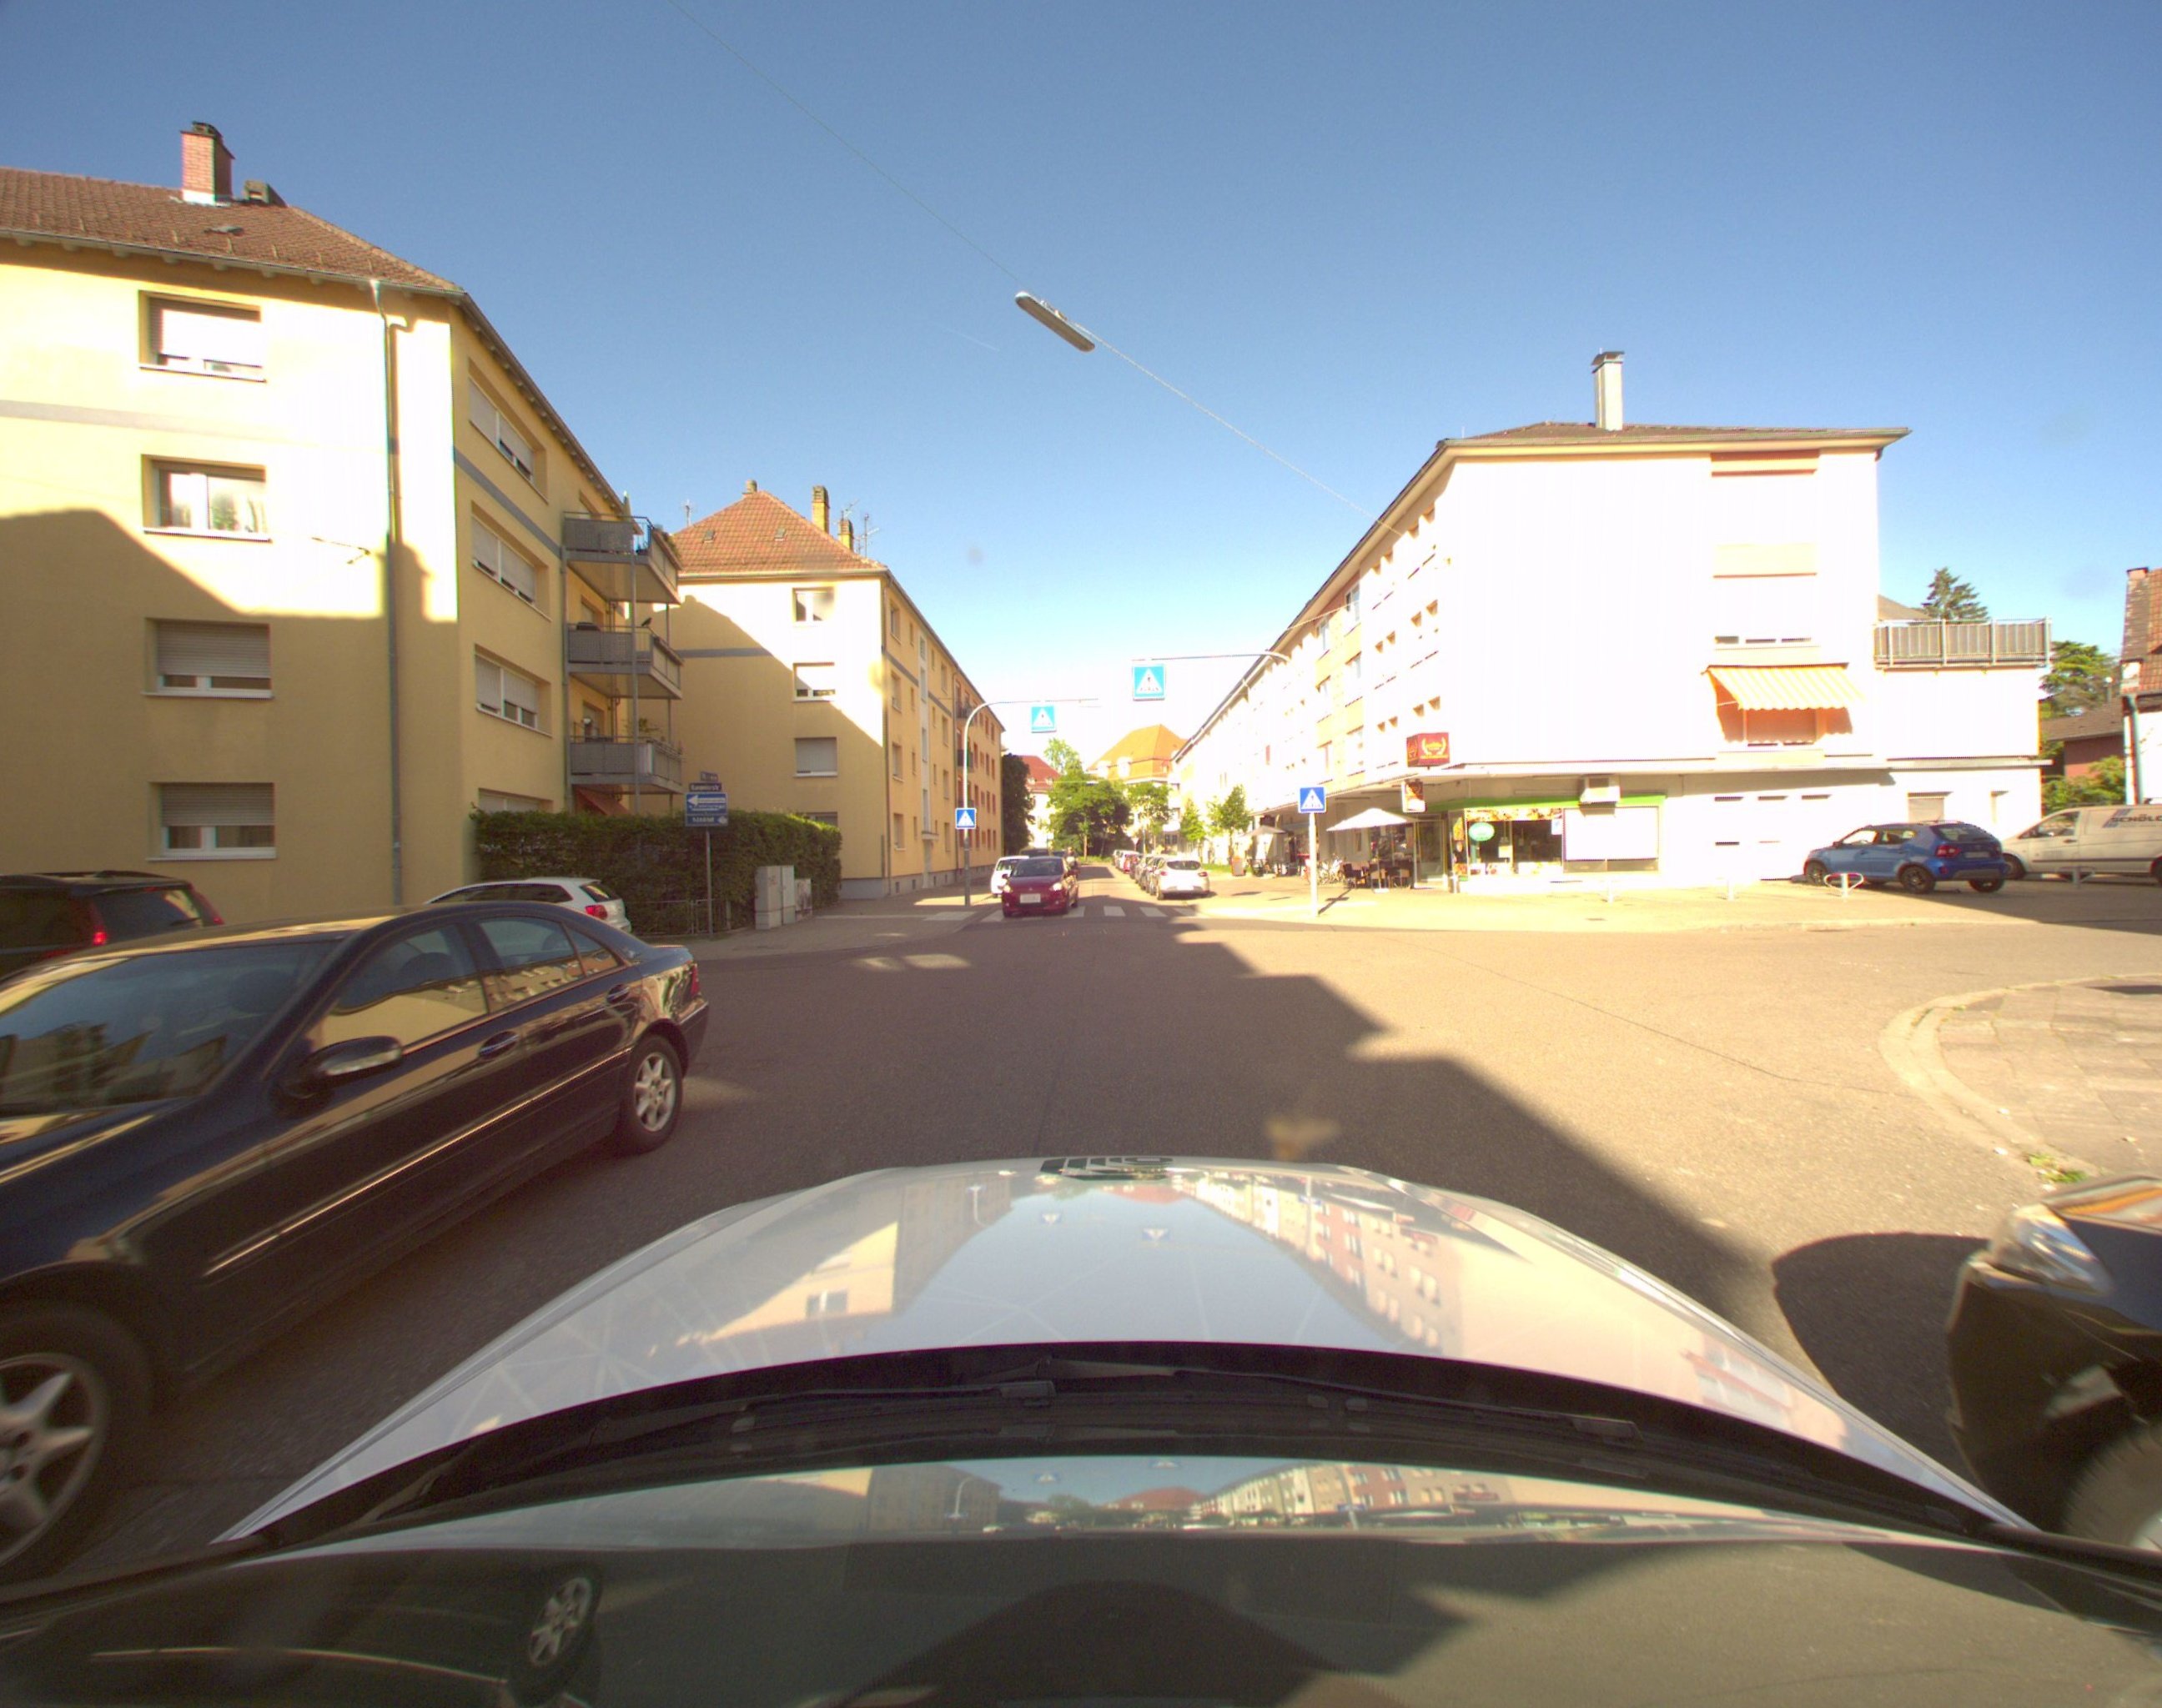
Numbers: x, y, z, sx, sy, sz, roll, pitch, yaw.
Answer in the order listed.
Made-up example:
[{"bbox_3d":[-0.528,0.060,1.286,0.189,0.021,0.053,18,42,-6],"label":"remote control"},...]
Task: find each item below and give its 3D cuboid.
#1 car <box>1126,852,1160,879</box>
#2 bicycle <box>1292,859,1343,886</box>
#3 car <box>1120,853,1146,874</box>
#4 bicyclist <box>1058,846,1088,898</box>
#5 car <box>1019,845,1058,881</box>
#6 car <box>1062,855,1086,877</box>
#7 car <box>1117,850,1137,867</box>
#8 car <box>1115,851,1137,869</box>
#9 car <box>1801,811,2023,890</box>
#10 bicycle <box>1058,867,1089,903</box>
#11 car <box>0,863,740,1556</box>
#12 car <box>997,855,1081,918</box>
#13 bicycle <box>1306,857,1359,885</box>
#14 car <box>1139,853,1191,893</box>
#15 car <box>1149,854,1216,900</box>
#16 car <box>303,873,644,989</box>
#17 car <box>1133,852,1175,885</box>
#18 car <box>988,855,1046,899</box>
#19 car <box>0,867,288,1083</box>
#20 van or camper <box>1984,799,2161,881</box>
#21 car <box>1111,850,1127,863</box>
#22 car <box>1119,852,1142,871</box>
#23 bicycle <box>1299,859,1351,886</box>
[{"bbox_3d":[3.594,0.636,47.575,1.632,1.440,3.418,-2,0,0],"label":"car"},{"bbox_3d":[9.293,0.725,32.044,1.806,0.967,0.671,-2,0,-10],"label":"bicycle"},{"bbox_3d":[3.755,0.661,59.303,1.632,1.440,3.419,-2,0,0],"label":"car"},{"bbox_3d":[-0.256,0.569,26.375,0.782,1.621,0.957,-3,0,5],"label":"bicyclist"},{"bbox_3d":[-2.224,0.453,43.753,1.691,1.779,4.100,-2,0,1],"label":"car"},{"bbox_3d":[-0.474,0.816,56.668,1.632,1.440,3.418,-2,0,0],"label":"car"},{"bbox_3d":[4.203,0.373,74.682,1.632,1.440,3.419,-2,0,0],"label":"car"},{"bbox_3d":[3.849,0.476,70.052,1.632,1.440,3.419,-2,0,0],"label":"car"},{"bbox_3d":[19.104,-0.072,18.952,1.574,1.613,3.475,-2,0,0],"label":"car"},{"bbox_3d":[-0.228,0.972,26.342,0.774,1.069,1.792,-2,0,6],"label":"bicycle"},{"bbox_3d":[-3.142,0.830,3.204,1.699,1.416,4.372,-6,-1,-1],"label":"car"},{"bbox_3d":[-1.024,0.793,21.380,1.689,1.440,3.423,-2,0,5],"label":"car"},{"bbox_3d":[9.505,0.639,30.785,1.806,0.967,0.671,-2,0,-10],"label":"bicycle"},{"bbox_3d":[3.319,0.723,32.792,1.685,1.440,3.418,-2,0,0],"label":"car"},{"bbox_3d":[3.444,0.736,28.106,1.839,1.440,3.418,-2,0,0],"label":"car"},{"bbox_3d":[-9.398,1.127,12.973,3.989,1.479,1.586,-2,0,-17],"label":"car"},{"bbox_3d":[3.402,0.669,38.626,1.632,1.440,3.418,-2,0,0],"label":"car"},{"bbox_3d":[-2.477,0.842,32.303,1.785,1.480,4.100,-3,1,1],"label":"car"},{"bbox_3d":[-9.896,1.005,6.689,4.475,1.615,1.768,-2,0,-17],"label":"car"},{"bbox_3d":[24.527,-0.334,19.057,1.766,1.813,4.476,-2,0,0],"label":"van or camper"},{"bbox_3d":[4.331,0.281,93.891,1.632,1.440,3.419,-2,0,0],"label":"car"},{"bbox_3d":[3.939,0.561,65.324,1.632,1.440,3.419,-2,0,0],"label":"car"},{"bbox_3d":[9.395,0.695,31.414,1.806,0.967,0.671,-2,0,-10],"label":"bicycle"}]
